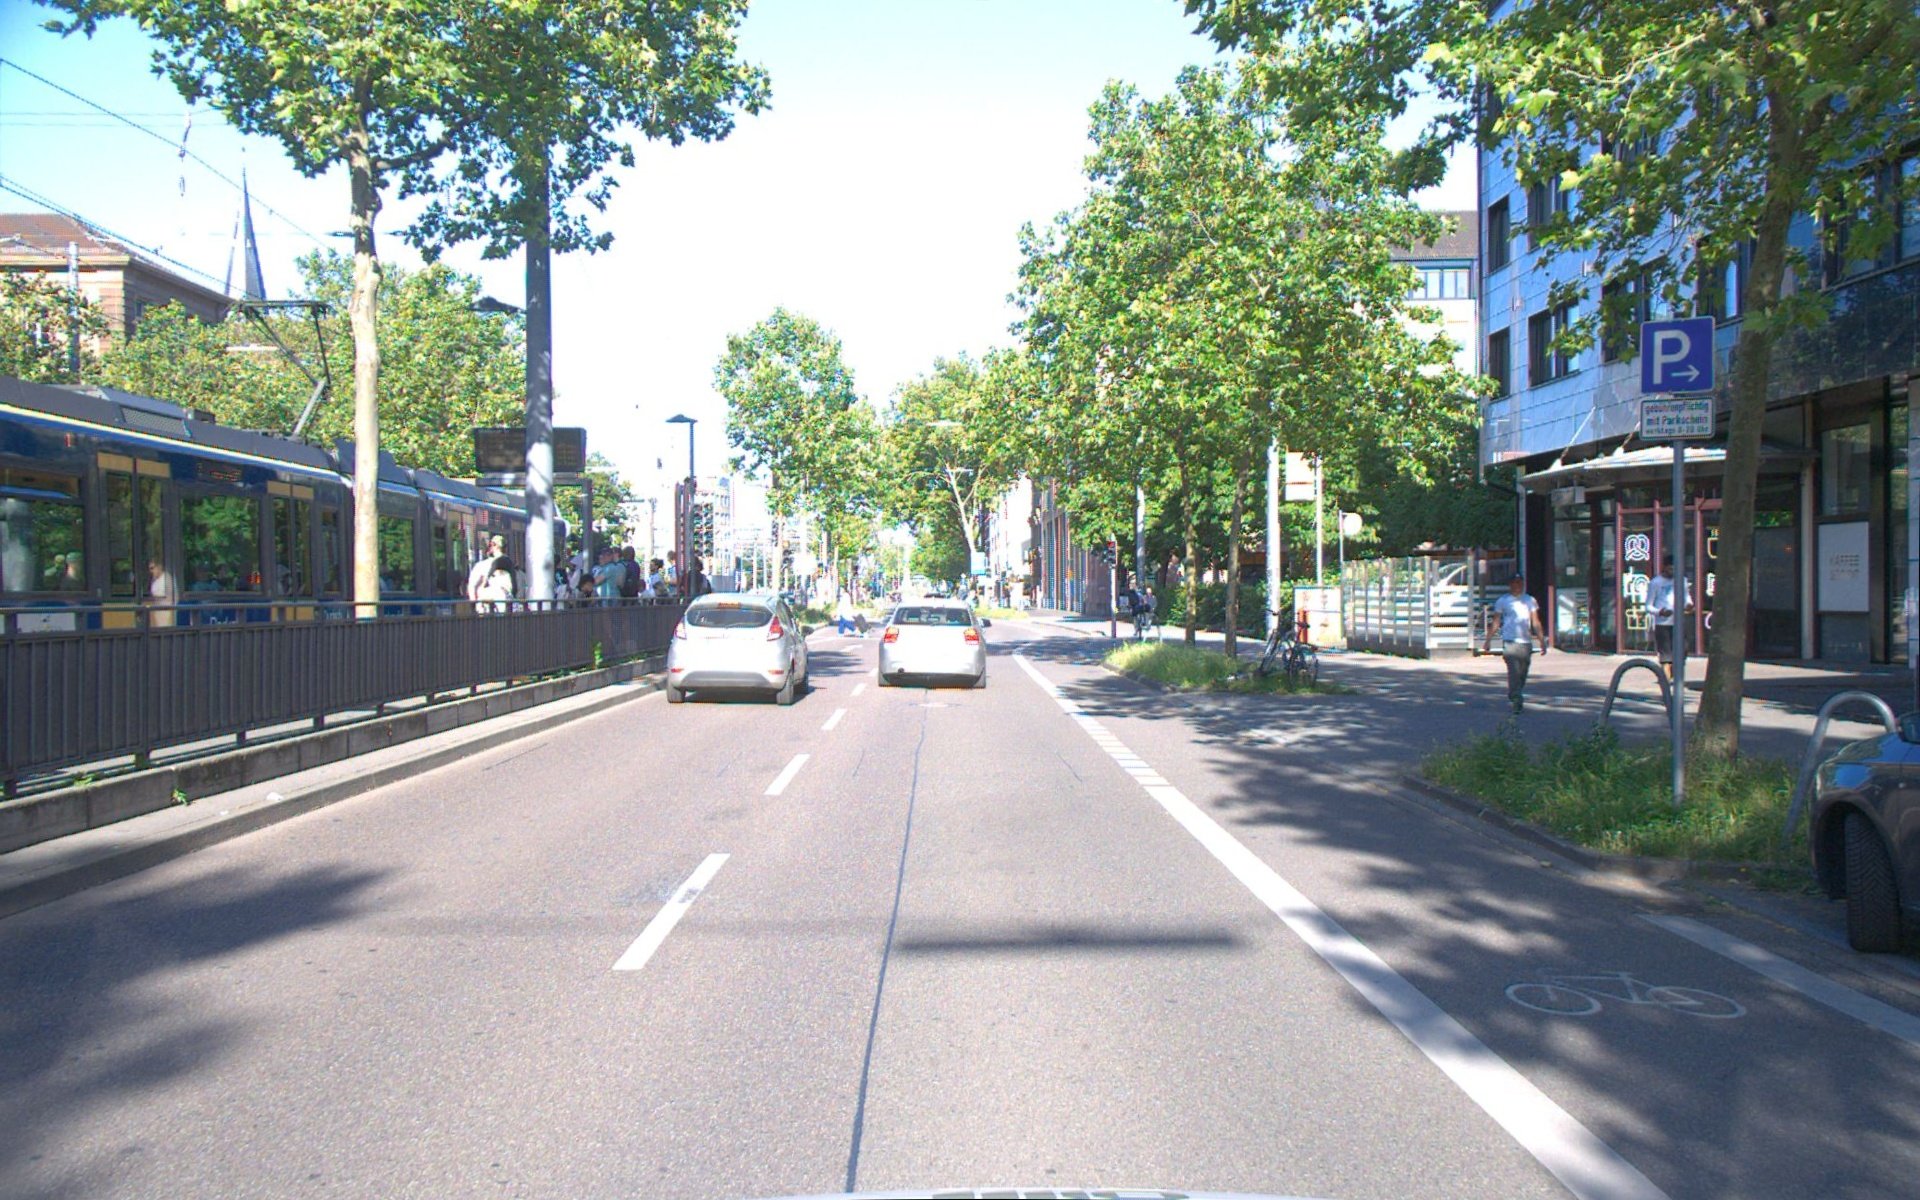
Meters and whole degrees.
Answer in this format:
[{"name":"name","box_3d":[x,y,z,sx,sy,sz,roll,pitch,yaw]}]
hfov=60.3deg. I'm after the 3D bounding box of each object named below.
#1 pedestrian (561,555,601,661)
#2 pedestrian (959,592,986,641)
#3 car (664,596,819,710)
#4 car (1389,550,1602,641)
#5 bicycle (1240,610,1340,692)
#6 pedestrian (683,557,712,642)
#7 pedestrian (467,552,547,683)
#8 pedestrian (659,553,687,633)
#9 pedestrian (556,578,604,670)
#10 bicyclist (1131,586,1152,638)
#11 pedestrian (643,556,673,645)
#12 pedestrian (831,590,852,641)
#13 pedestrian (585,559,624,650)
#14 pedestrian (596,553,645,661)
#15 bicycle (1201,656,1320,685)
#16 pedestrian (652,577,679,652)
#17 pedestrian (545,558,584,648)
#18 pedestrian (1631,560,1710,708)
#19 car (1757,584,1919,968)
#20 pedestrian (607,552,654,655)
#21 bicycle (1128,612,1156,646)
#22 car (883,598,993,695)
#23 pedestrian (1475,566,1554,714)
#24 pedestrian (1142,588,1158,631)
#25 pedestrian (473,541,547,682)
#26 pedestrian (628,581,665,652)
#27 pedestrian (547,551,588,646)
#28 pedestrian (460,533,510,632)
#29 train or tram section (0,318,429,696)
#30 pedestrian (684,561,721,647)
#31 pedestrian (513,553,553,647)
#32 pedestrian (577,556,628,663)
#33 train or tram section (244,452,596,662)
[{"name":"pedestrian","box_3d":[-6.312,0.128,27.585,0.504,1.738,0.621,-1,0,-1]},{"name":"pedestrian","box_3d":[0.406,0.528,54.324,0.812,1.603,0.739,0,-1,7]},{"name":"car","box_3d":[-2.955,0.682,22.979,1.626,1.434,3.632,1,0,0]},{"name":"car","box_3d":[13.809,-0.123,42.844,4.798,2.019,1.913,-3,0,-1]},{"name":"bicycle","box_3d":[4.948,0.744,24.937,0.774,1.153,1.840,-1,0,-13]},{"name":"pedestrian","box_3d":[-5.521,-0.007,34.812,0.537,1.764,0.539,-1,0,-5]},{"name":"pedestrian","box_3d":[-5.462,0.205,19.984,0.760,1.536,0.751,-1,0,-4]},{"name":"pedestrian","box_3d":[-6.422,-0.164,37.056,0.537,1.764,0.539,-1,0,-5]},{"name":"pedestrian","box_3d":[-5.362,0.329,23.348,0.523,1.268,0.604,-1,0,-3]},{"name":"bicyclist","box_3d":[5.982,0.383,54.434,0.644,1.686,0.765,-1,0,8]},{"name":"pedestrian","box_3d":[-5.951,0.002,32.571,0.495,1.732,0.611,-1,0,-5]},{"name":"pedestrian","box_3d":[-3.855,0.509,53.691,0.626,1.648,0.641,-1,-2,-3]},{"name":"pedestrian","box_3d":[-6.632,0.079,30.836,0.606,1.678,0.622,-1,0,-5]},{"name":"pedestrian","box_3d":[-5.511,0.107,26.896,0.647,1.726,0.571,-1,0,0]},{"name":"bicycle","box_3d":[4.613,1.085,25.551,1.576,0.359,1.389,-1,0,-1]},{"name":"pedestrian","box_3d":[-5.355,0.261,30.095,0.407,1.339,0.507,-1,0,-3]},{"name":"pedestrian","box_3d":[-6.898,0.058,28.874,0.534,1.545,0.531,-1,0,-1]},{"name":"pedestrian","box_3d":[8.733,0.406,20.362,0.548,1.775,0.878,-1,0,-1]},{"name":"car","box_3d":[4.699,0.717,6.146,1.533,1.577,4.000,0,0,0]},{"name":"pedestrian","box_3d":[-5.581,0.057,27.999,0.647,1.726,0.571,-1,0,0]},{"name":"bicycle","box_3d":[6.003,0.947,54.454,0.814,1.059,1.876,-1,0,8]},{"name":"car","box_3d":[-0.388,0.724,27.788,1.695,1.414,3.839,1,1,-1]},{"name":"pedestrian","box_3d":[6.703,0.473,20.033,0.548,1.734,1.052,-1,0,-1]},{"name":"pedestrian","box_3d":[7.417,0.377,64.418,0.613,1.657,0.944,0,0,7]},{"name":"pedestrian","box_3d":[-5.810,0.144,21.406,0.760,1.783,0.722,-1,0,-4]},{"name":"pedestrian","box_3d":[-5.471,0.289,28.861,0.534,1.213,0.531,-1,0,-1]},{"name":"pedestrian","box_3d":[-7.323,-0.033,30.892,0.620,1.732,0.746,-1,0,-5]},{"name":"pedestrian","box_3d":[-6.511,-0.242,22.682,0.523,1.322,0.604,-1,0,-4]},{"name":"train or tram section","box_3d":[-9.919,-0.784,18.680,2.855,3.317,15.889,1,-1,-1]},{"name":"pedestrian","box_3d":[-5.314,0.078,34.098,0.536,1.764,0.540,-1,0,20]},{"name":"pedestrian","box_3d":[-8.010,-0.001,31.034,0.597,1.732,0.545,-1,0,-5]},{"name":"pedestrian","box_3d":[-5.645,0.141,26.143,0.647,1.662,0.571,-1,0,0]},{"name":"train or tram section","box_3d":[-10.128,-0.604,33.176,2.855,3.317,13.110,1,-1,-1]}]
